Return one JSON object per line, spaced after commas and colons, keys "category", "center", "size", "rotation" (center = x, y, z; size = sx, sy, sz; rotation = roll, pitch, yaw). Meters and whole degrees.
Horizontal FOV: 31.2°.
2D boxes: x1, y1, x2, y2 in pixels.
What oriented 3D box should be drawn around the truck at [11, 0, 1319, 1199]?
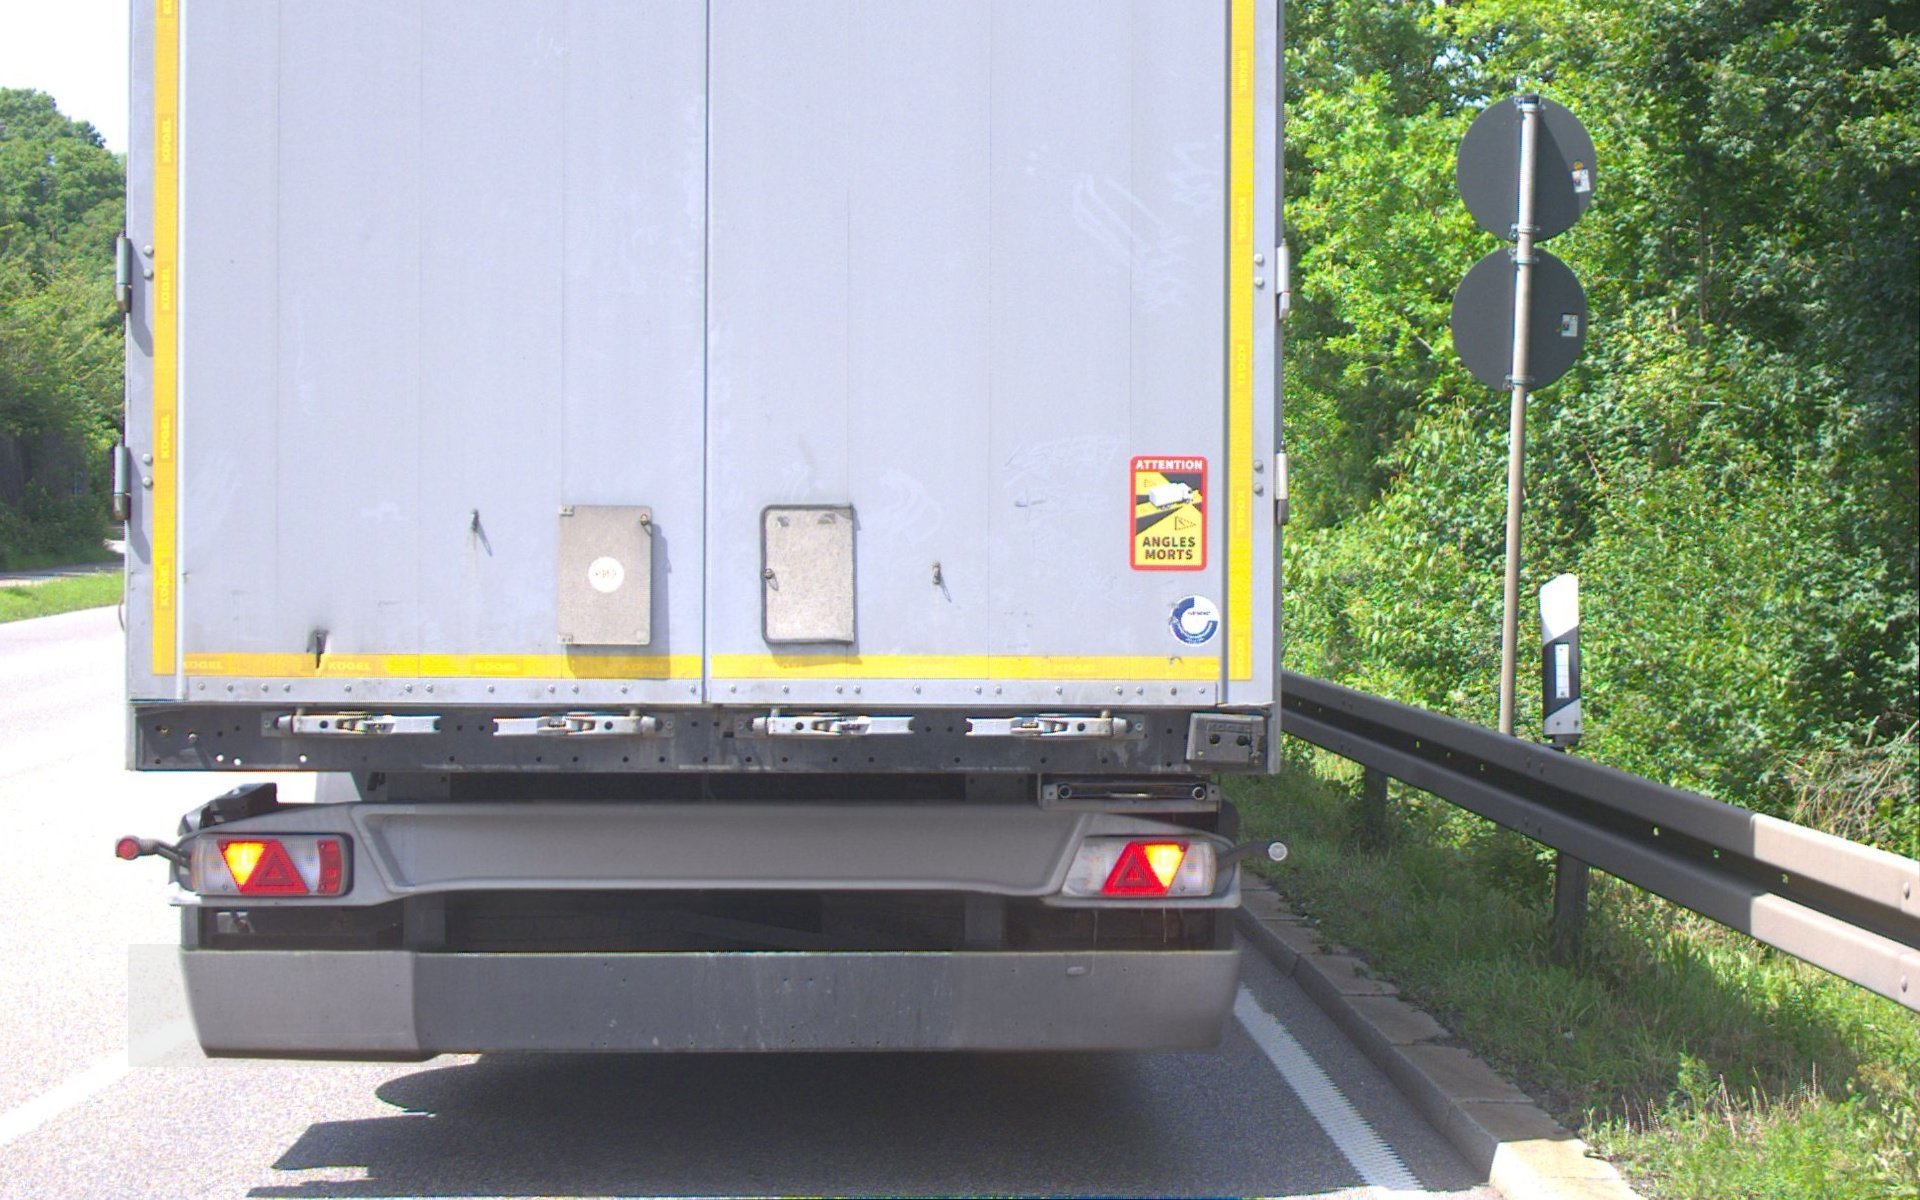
{"category": "truck", "center": [-0.759, -0.848, 13.247], "size": [2.757, 4.016, 11.925], "rotation": [0, 1, -1]}
